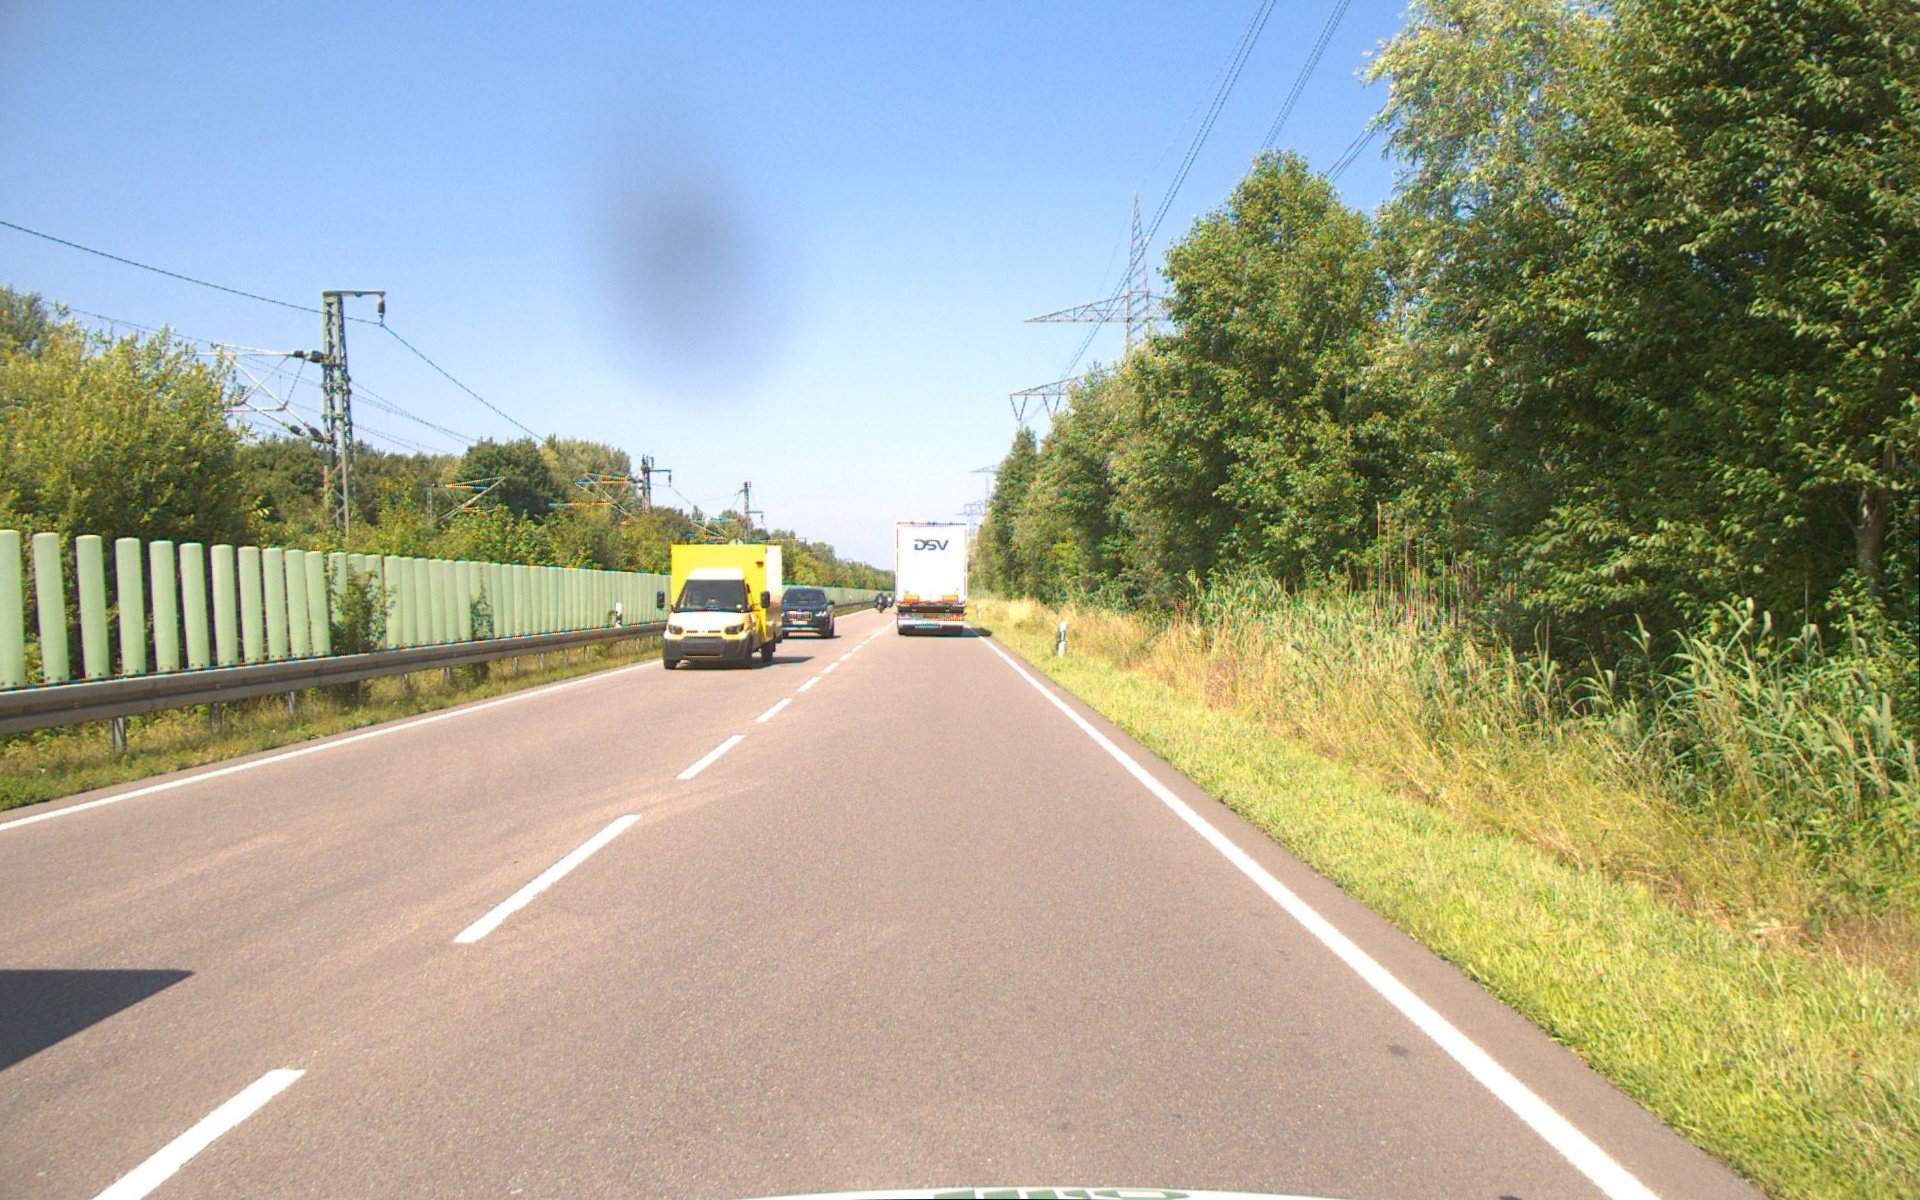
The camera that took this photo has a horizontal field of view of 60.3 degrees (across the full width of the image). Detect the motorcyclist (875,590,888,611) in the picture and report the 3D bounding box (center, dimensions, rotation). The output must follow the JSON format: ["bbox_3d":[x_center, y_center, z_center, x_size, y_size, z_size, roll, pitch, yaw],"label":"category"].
[{"bbox_3d":[-6.265,0.032,132.212,0.939,1.638,1.003,1,0,0],"label":"motorcyclist"}]

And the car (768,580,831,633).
[{"bbox_3d":[-5.415,0.199,56.240,1.777,1.723,4.705,0,0,-1],"label":"car"}]

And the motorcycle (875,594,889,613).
[{"bbox_3d":[-6.270,0.268,132.576,0.948,1.522,2.630,1,0,0],"label":"motorcycle"}]

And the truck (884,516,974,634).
[{"bbox_3d":[-1.247,-0.886,63.806,3.127,4.113,12.003,0,0,-2],"label":"truck"}]

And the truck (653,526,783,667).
[{"bbox_3d":[-4.970,-0.082,34.747,2.038,2.693,5.703,0,0,-2],"label":"truck"}]
